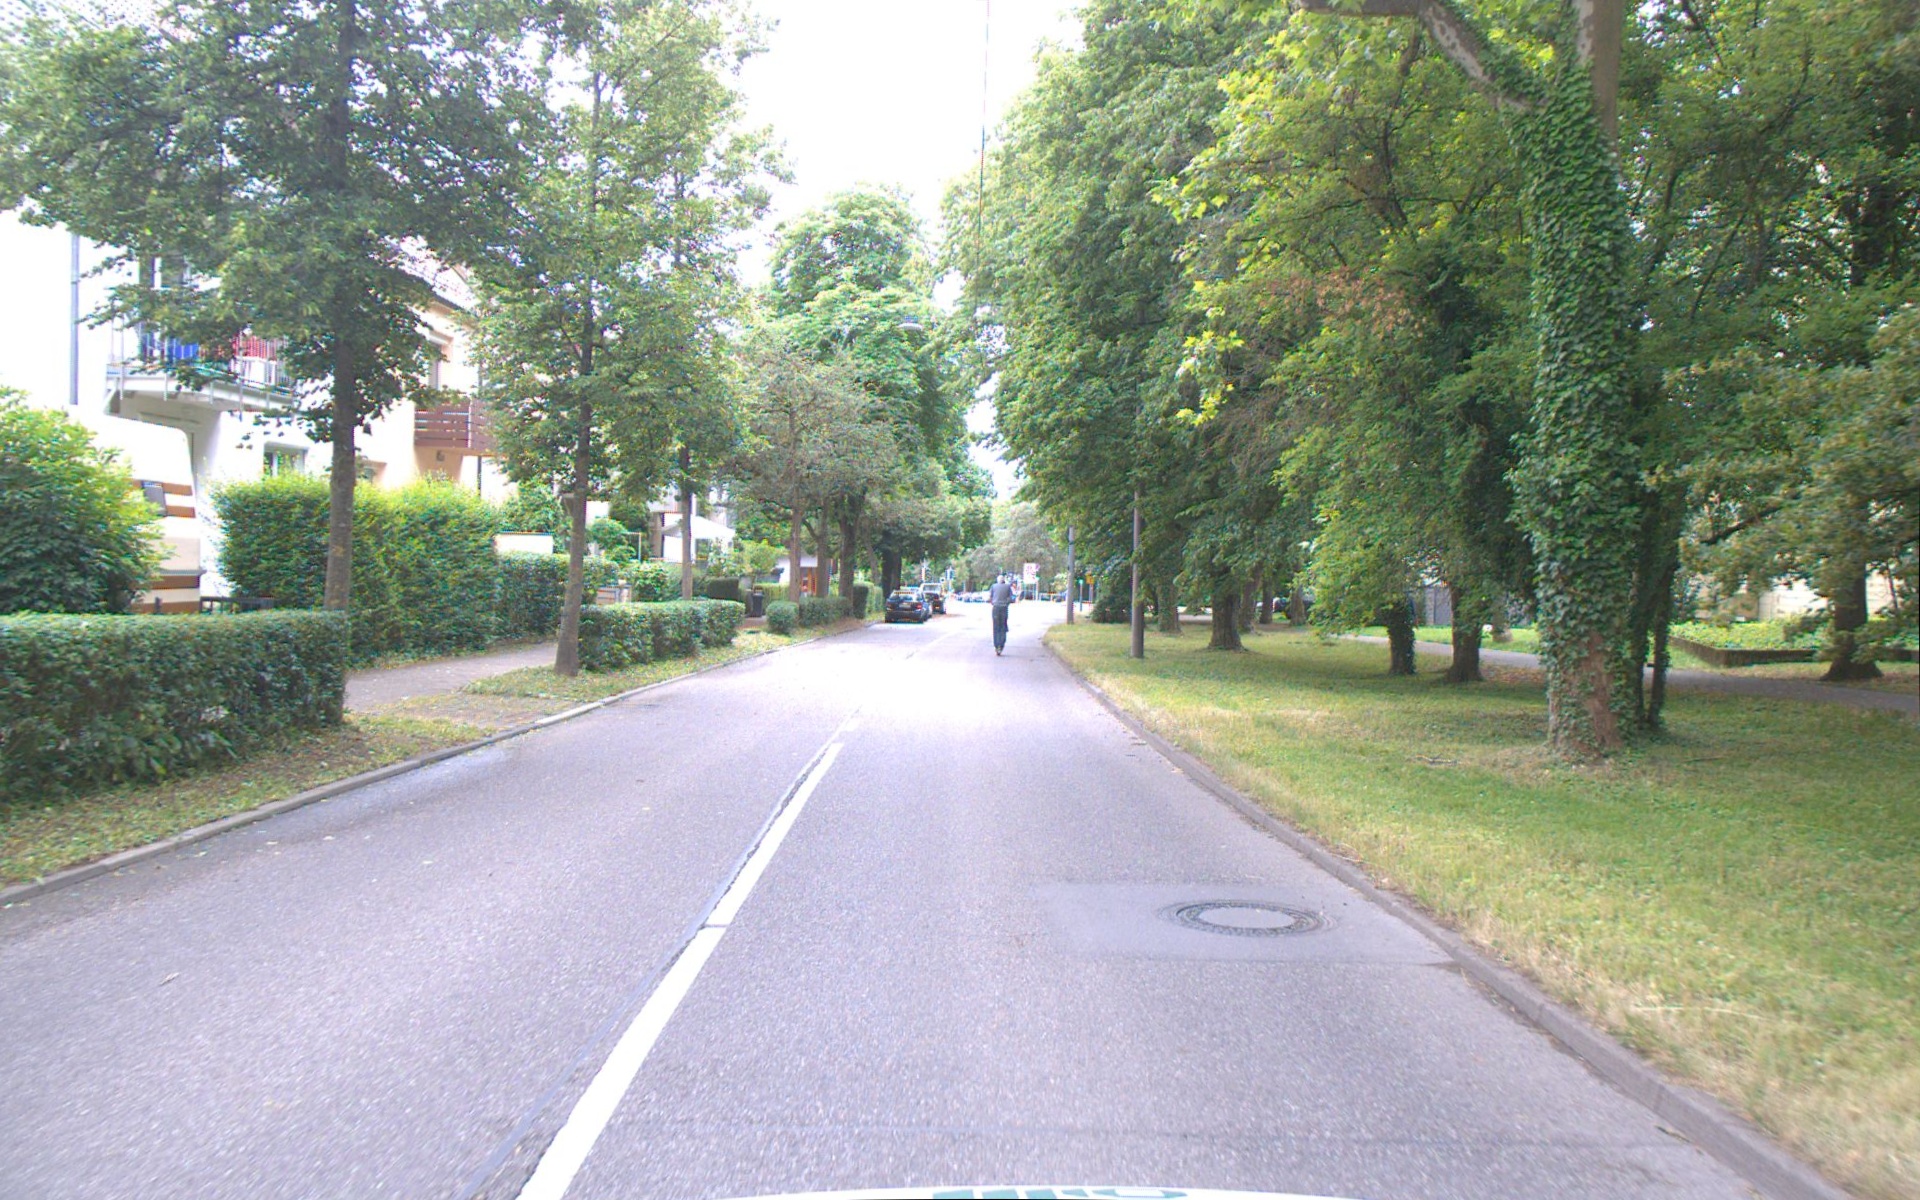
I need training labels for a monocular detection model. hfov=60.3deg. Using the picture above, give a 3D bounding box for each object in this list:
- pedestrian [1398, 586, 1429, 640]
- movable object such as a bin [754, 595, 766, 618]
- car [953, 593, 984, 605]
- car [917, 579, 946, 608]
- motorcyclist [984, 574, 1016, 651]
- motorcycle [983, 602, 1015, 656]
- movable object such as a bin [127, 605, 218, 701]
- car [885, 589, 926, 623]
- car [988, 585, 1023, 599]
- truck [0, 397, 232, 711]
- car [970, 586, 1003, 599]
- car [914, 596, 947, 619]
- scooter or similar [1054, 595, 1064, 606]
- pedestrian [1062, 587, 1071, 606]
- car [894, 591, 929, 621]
[{"bbox_3d":[14.398,0.406,52.538,0.752,1.716,0.814,0,0,1],"label":"pedestrian"},{"bbox_3d":[-8.089,0.251,66.954,0.447,0.931,0.508,0,0,-4],"label":"movable object such as a bin"},{"bbox_3d":[1.112,-0.119,215.240,3.906,1.537,1.800,1,0,-1],"label":"car"},{"bbox_3d":[-2.038,-0.454,117.769,1.820,1.998,4.501,1,0,-3],"label":"car"},{"bbox_3d":[0.962,0.293,39.765,0.659,1.792,0.639,2,0,3],"label":"motorcyclist"},{"bbox_3d":[0.939,0.679,39.630,0.659,1.238,1.274,2,0,3],"label":"motorcycle"},{"bbox_3d":[-7.931,0.523,16.669,0.568,0.942,0.693,0,0,2],"label":"movable object such as a bin"},{"bbox_3d":[-2.478,0.264,75.711,1.757,1.498,4.417,1,0,-1],"label":"car"},{"bbox_3d":[5.156,-0.911,187.724,3.906,1.537,1.800,1,0,-1],"label":"car"},{"bbox_3d":[-11.443,-0.547,18.174,5.679,3.185,2.517,2,0,-2],"label":"truck"},{"bbox_3d":[3.226,-0.884,200.402,3.906,1.537,1.800,1,0,-1],"label":"car"},{"bbox_3d":[-1.907,0.463,106.852,1.852,1.435,4.555,1,0,2],"label":"car"},{"bbox_3d":[9.239,0.031,154.211,0.695,1.067,0.787,1,0,21],"label":"scooter or similar"},{"bbox_3d":[9.920,-0.325,153.912,0.717,1.792,0.662,1,-1,21],"label":"pedestrian"},{"bbox_3d":[-2.338,0.282,80.687,1.630,1.416,3.706,1,0,0],"label":"car"}]
